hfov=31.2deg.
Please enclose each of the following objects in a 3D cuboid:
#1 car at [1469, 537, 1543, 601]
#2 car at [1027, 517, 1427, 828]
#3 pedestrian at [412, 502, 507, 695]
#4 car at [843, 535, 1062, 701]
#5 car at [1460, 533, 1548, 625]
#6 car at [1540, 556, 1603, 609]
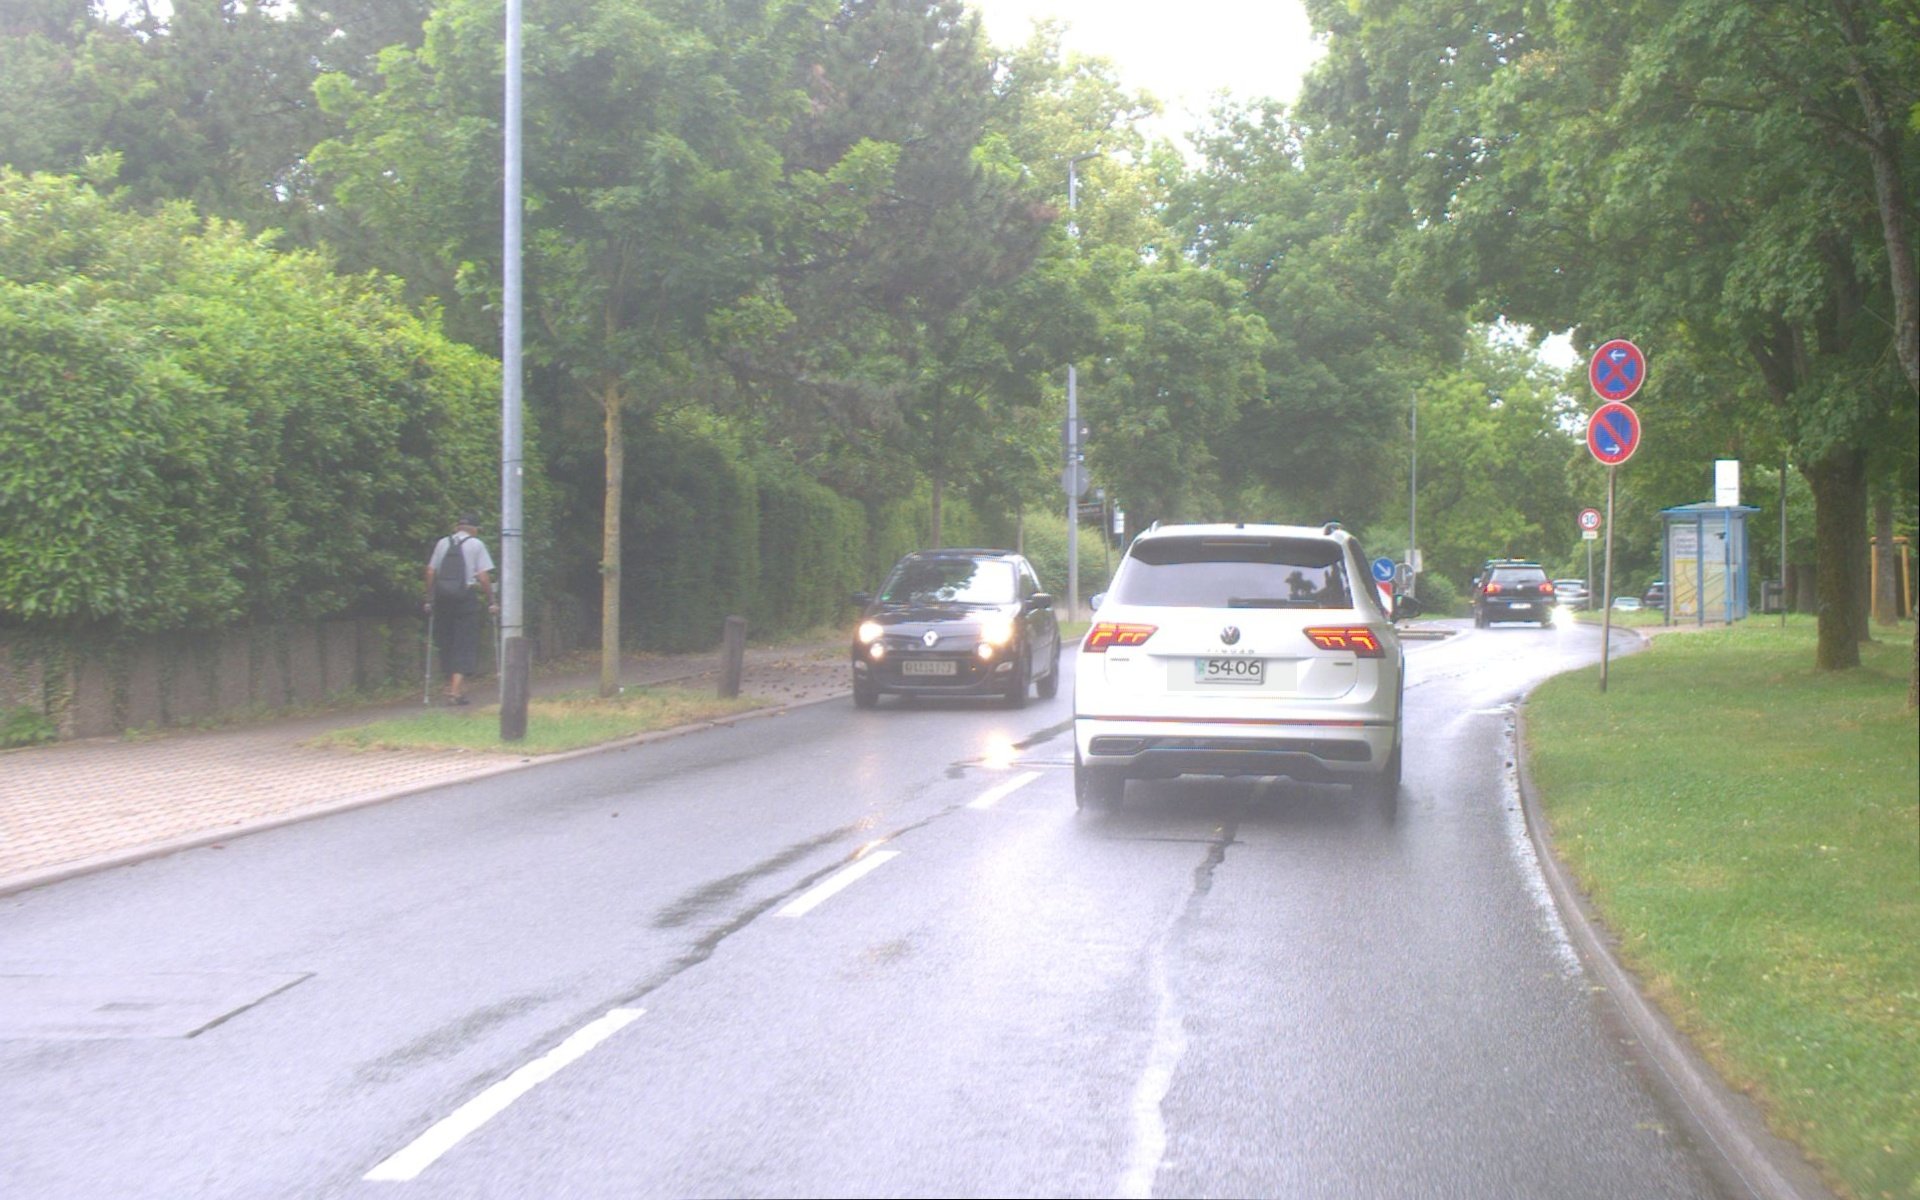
[{"bbox_3d":[15.933,-0.888,100.470,1.994,1.753,3.999,2,0,7],"label":"car"},{"bbox_3d":[1.701,0.351,20.505,1.975,1.647,4.175,0,1,10],"label":"car"},{"bbox_3d":[-4.339,-0.021,29.838,0.777,1.656,0.843,0,1,-6],"label":"pedestrian"},{"bbox_3d":[-0.012,0.130,33.240,1.583,1.472,3.895,-1,1,8],"label":"car"},{"bbox_3d":[12.540,-0.453,79.410,1.902,2.007,3.943,2,0,8],"label":"car"},{"bbox_3d":[22.181,-0.631,124.832,1.994,1.798,3.999,2,0,7],"label":"car"}]
